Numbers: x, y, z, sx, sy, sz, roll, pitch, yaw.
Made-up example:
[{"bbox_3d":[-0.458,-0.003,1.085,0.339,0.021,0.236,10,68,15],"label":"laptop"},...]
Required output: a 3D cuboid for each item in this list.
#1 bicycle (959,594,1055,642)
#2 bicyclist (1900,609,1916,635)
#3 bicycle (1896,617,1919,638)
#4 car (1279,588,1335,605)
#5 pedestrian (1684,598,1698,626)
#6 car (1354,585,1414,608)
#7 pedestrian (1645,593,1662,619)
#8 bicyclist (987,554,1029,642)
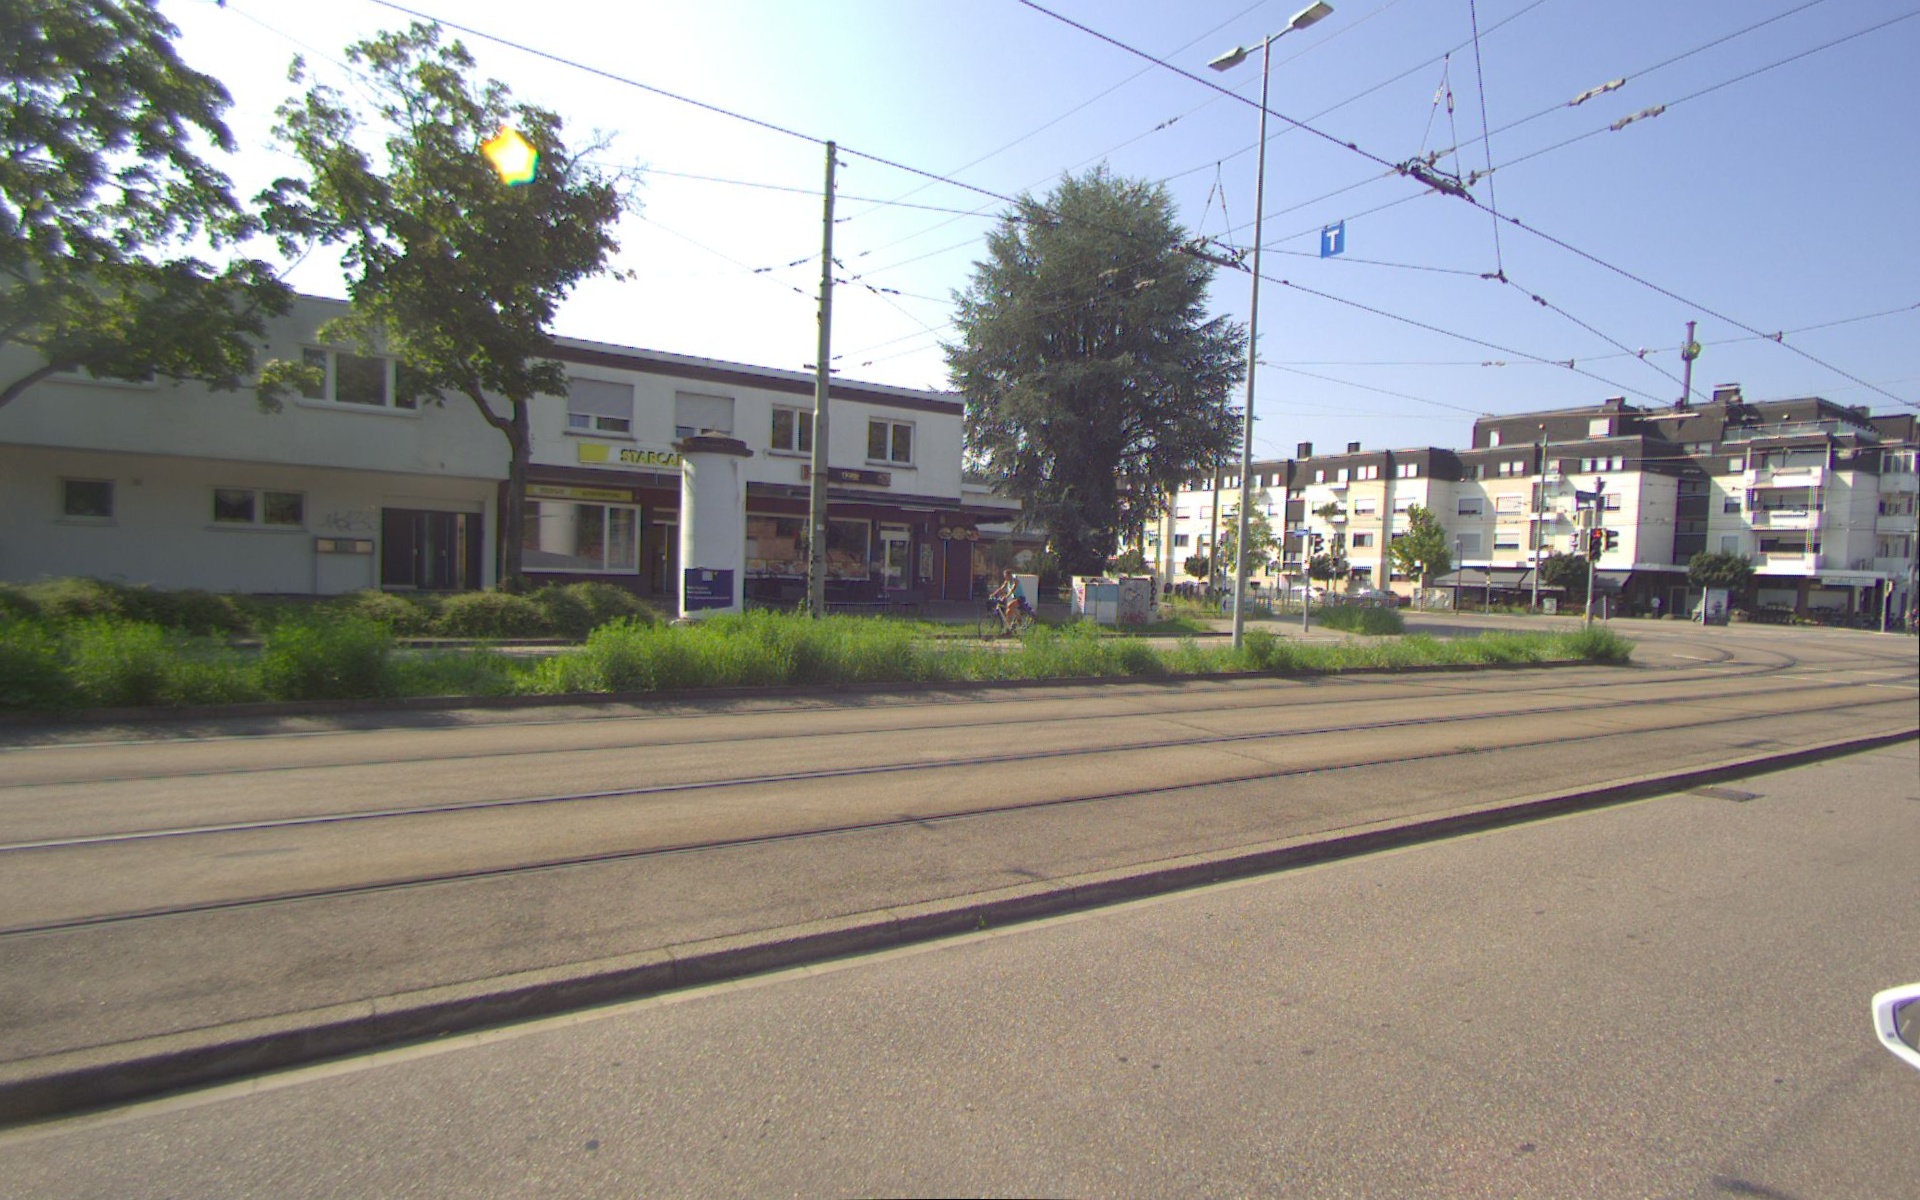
[{"bbox_3d":[1.150,0.443,24.362,2.236,1.106,0.712,2,0,-27],"label":"bicycle"},{"bbox_3d":[56.433,1.298,59.769,0.484,1.543,0.565,1,0,-32],"label":"bicyclist"},{"bbox_3d":[56.498,1.636,59.819,2.183,1.195,0.572,1,1,-32],"label":"bicycle"},{"bbox_3d":[27.588,-0.293,79.947,1.655,1.317,4.084,1,0,-33],"label":"car"},{"bbox_3d":[47.475,0.770,65.254,0.588,1.768,0.566,2,0,24],"label":"pedestrian"},{"bbox_3d":[34.284,-0.281,81.275,1.910,1.527,4.083,1,3,-33],"label":"car"},{"bbox_3d":[48.354,0.396,70.027,0.690,1.764,0.676,1,0,-32],"label":"pedestrian"},{"bbox_3d":[1.164,-0.046,24.349,0.764,2.092,0.635,1,0,-26],"label":"bicyclist"}]
